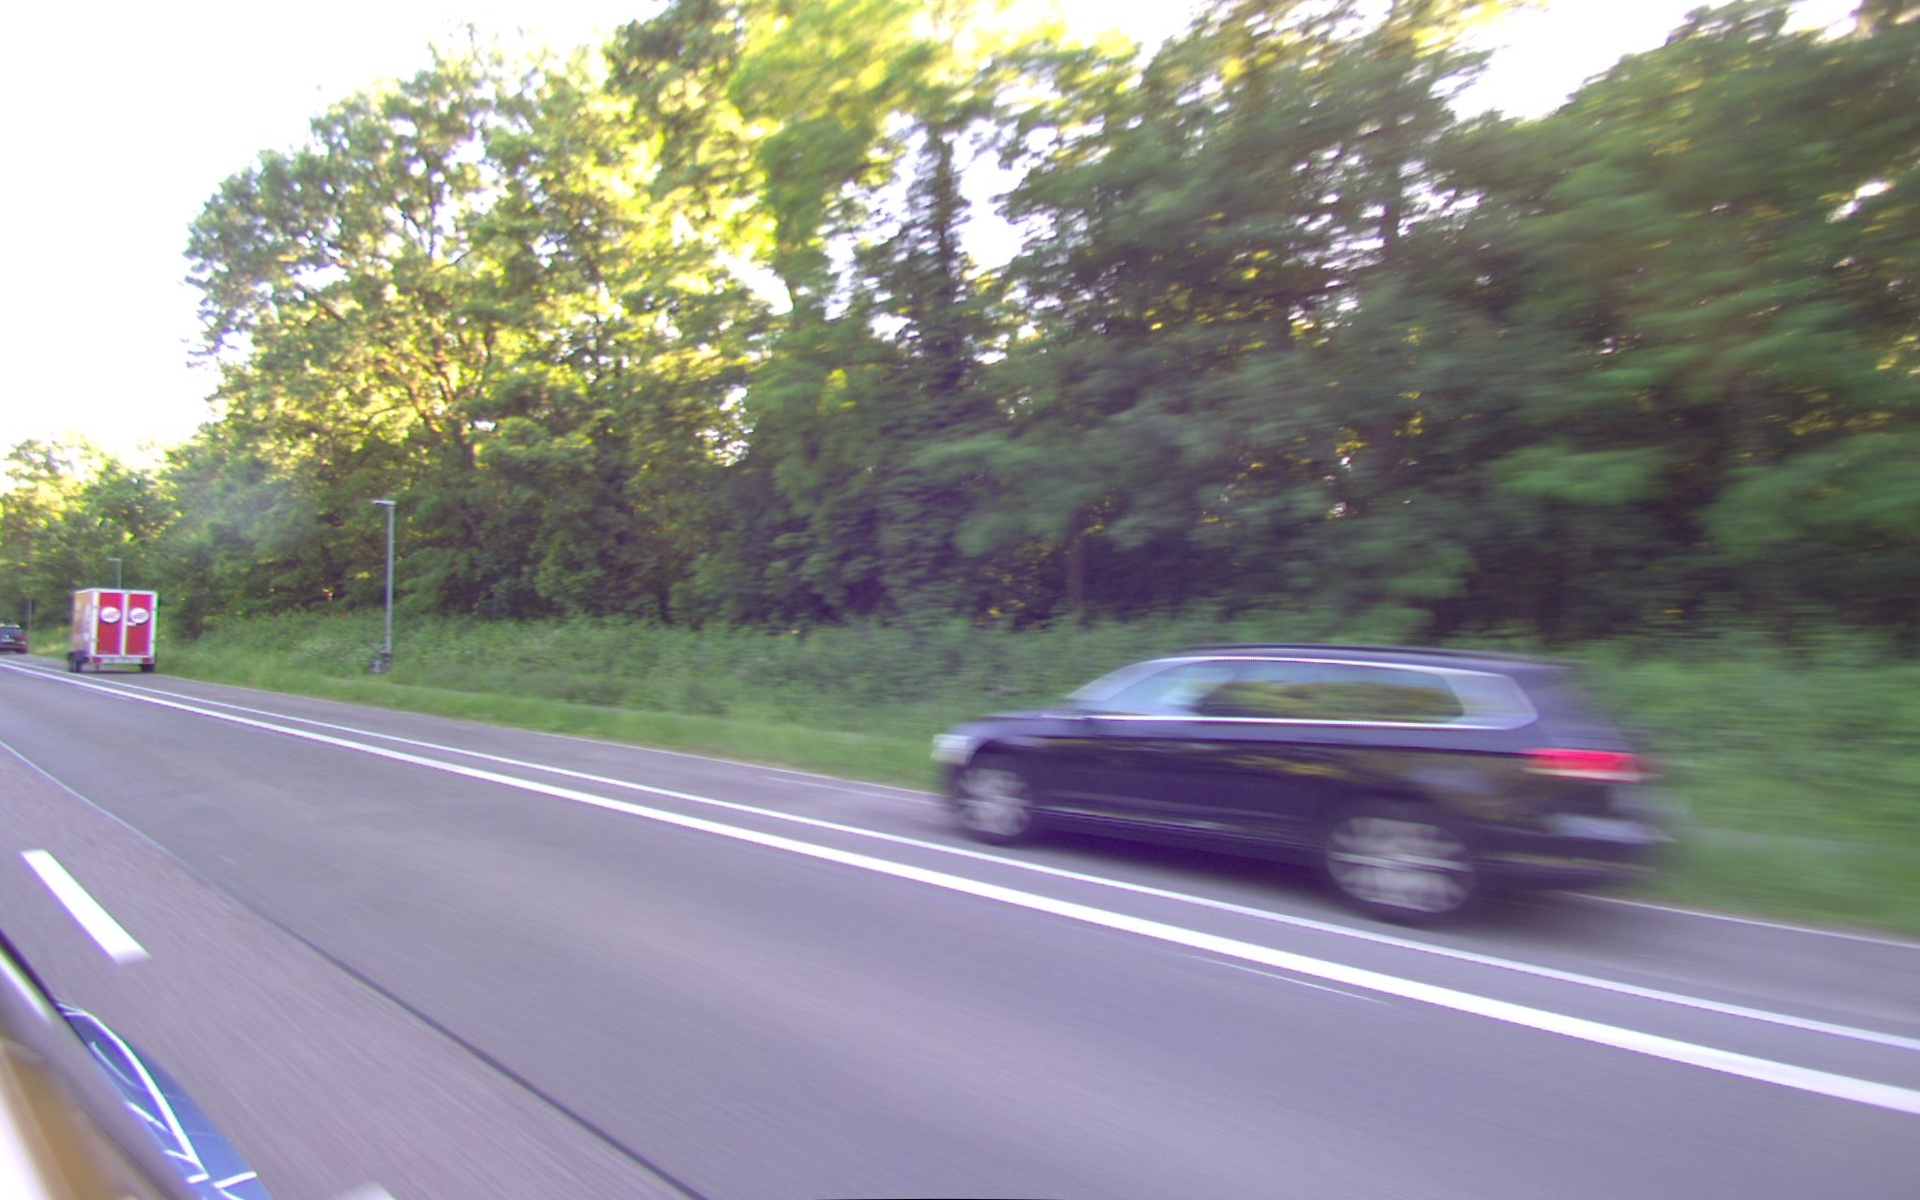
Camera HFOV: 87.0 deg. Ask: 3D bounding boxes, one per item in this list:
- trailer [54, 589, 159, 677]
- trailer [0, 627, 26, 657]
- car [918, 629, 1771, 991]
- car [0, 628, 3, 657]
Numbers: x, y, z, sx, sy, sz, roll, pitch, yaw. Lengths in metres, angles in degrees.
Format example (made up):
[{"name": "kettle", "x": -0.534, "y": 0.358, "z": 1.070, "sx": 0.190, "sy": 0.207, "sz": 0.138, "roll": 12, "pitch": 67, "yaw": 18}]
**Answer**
[{"name": "trailer", "x": -27.430, "y": 1.043, "z": 32.473, "sx": 4.084, "sy": 2.641, "sz": 1.973, "roll": -1, "pitch": -2, "yaw": 41}, {"name": "trailer", "x": -49.208, "y": 2.142, "z": 51.606, "sx": 4.464, "sy": 1.477, "sz": 1.822, "roll": -1, "pitch": -1, "yaw": 41}, {"name": "car", "x": 2.084, "y": 0.937, "z": 6.488, "sx": 4.782, "sy": 1.475, "sz": 1.835, "roll": -1, "pitch": -2, "yaw": 41}, {"name": "car", "x": -54.399, "y": 2.271, "z": 55.924, "sx": 5.125, "sy": 1.586, "sz": 1.653, "roll": -1, "pitch": -5, "yaw": 41}]
